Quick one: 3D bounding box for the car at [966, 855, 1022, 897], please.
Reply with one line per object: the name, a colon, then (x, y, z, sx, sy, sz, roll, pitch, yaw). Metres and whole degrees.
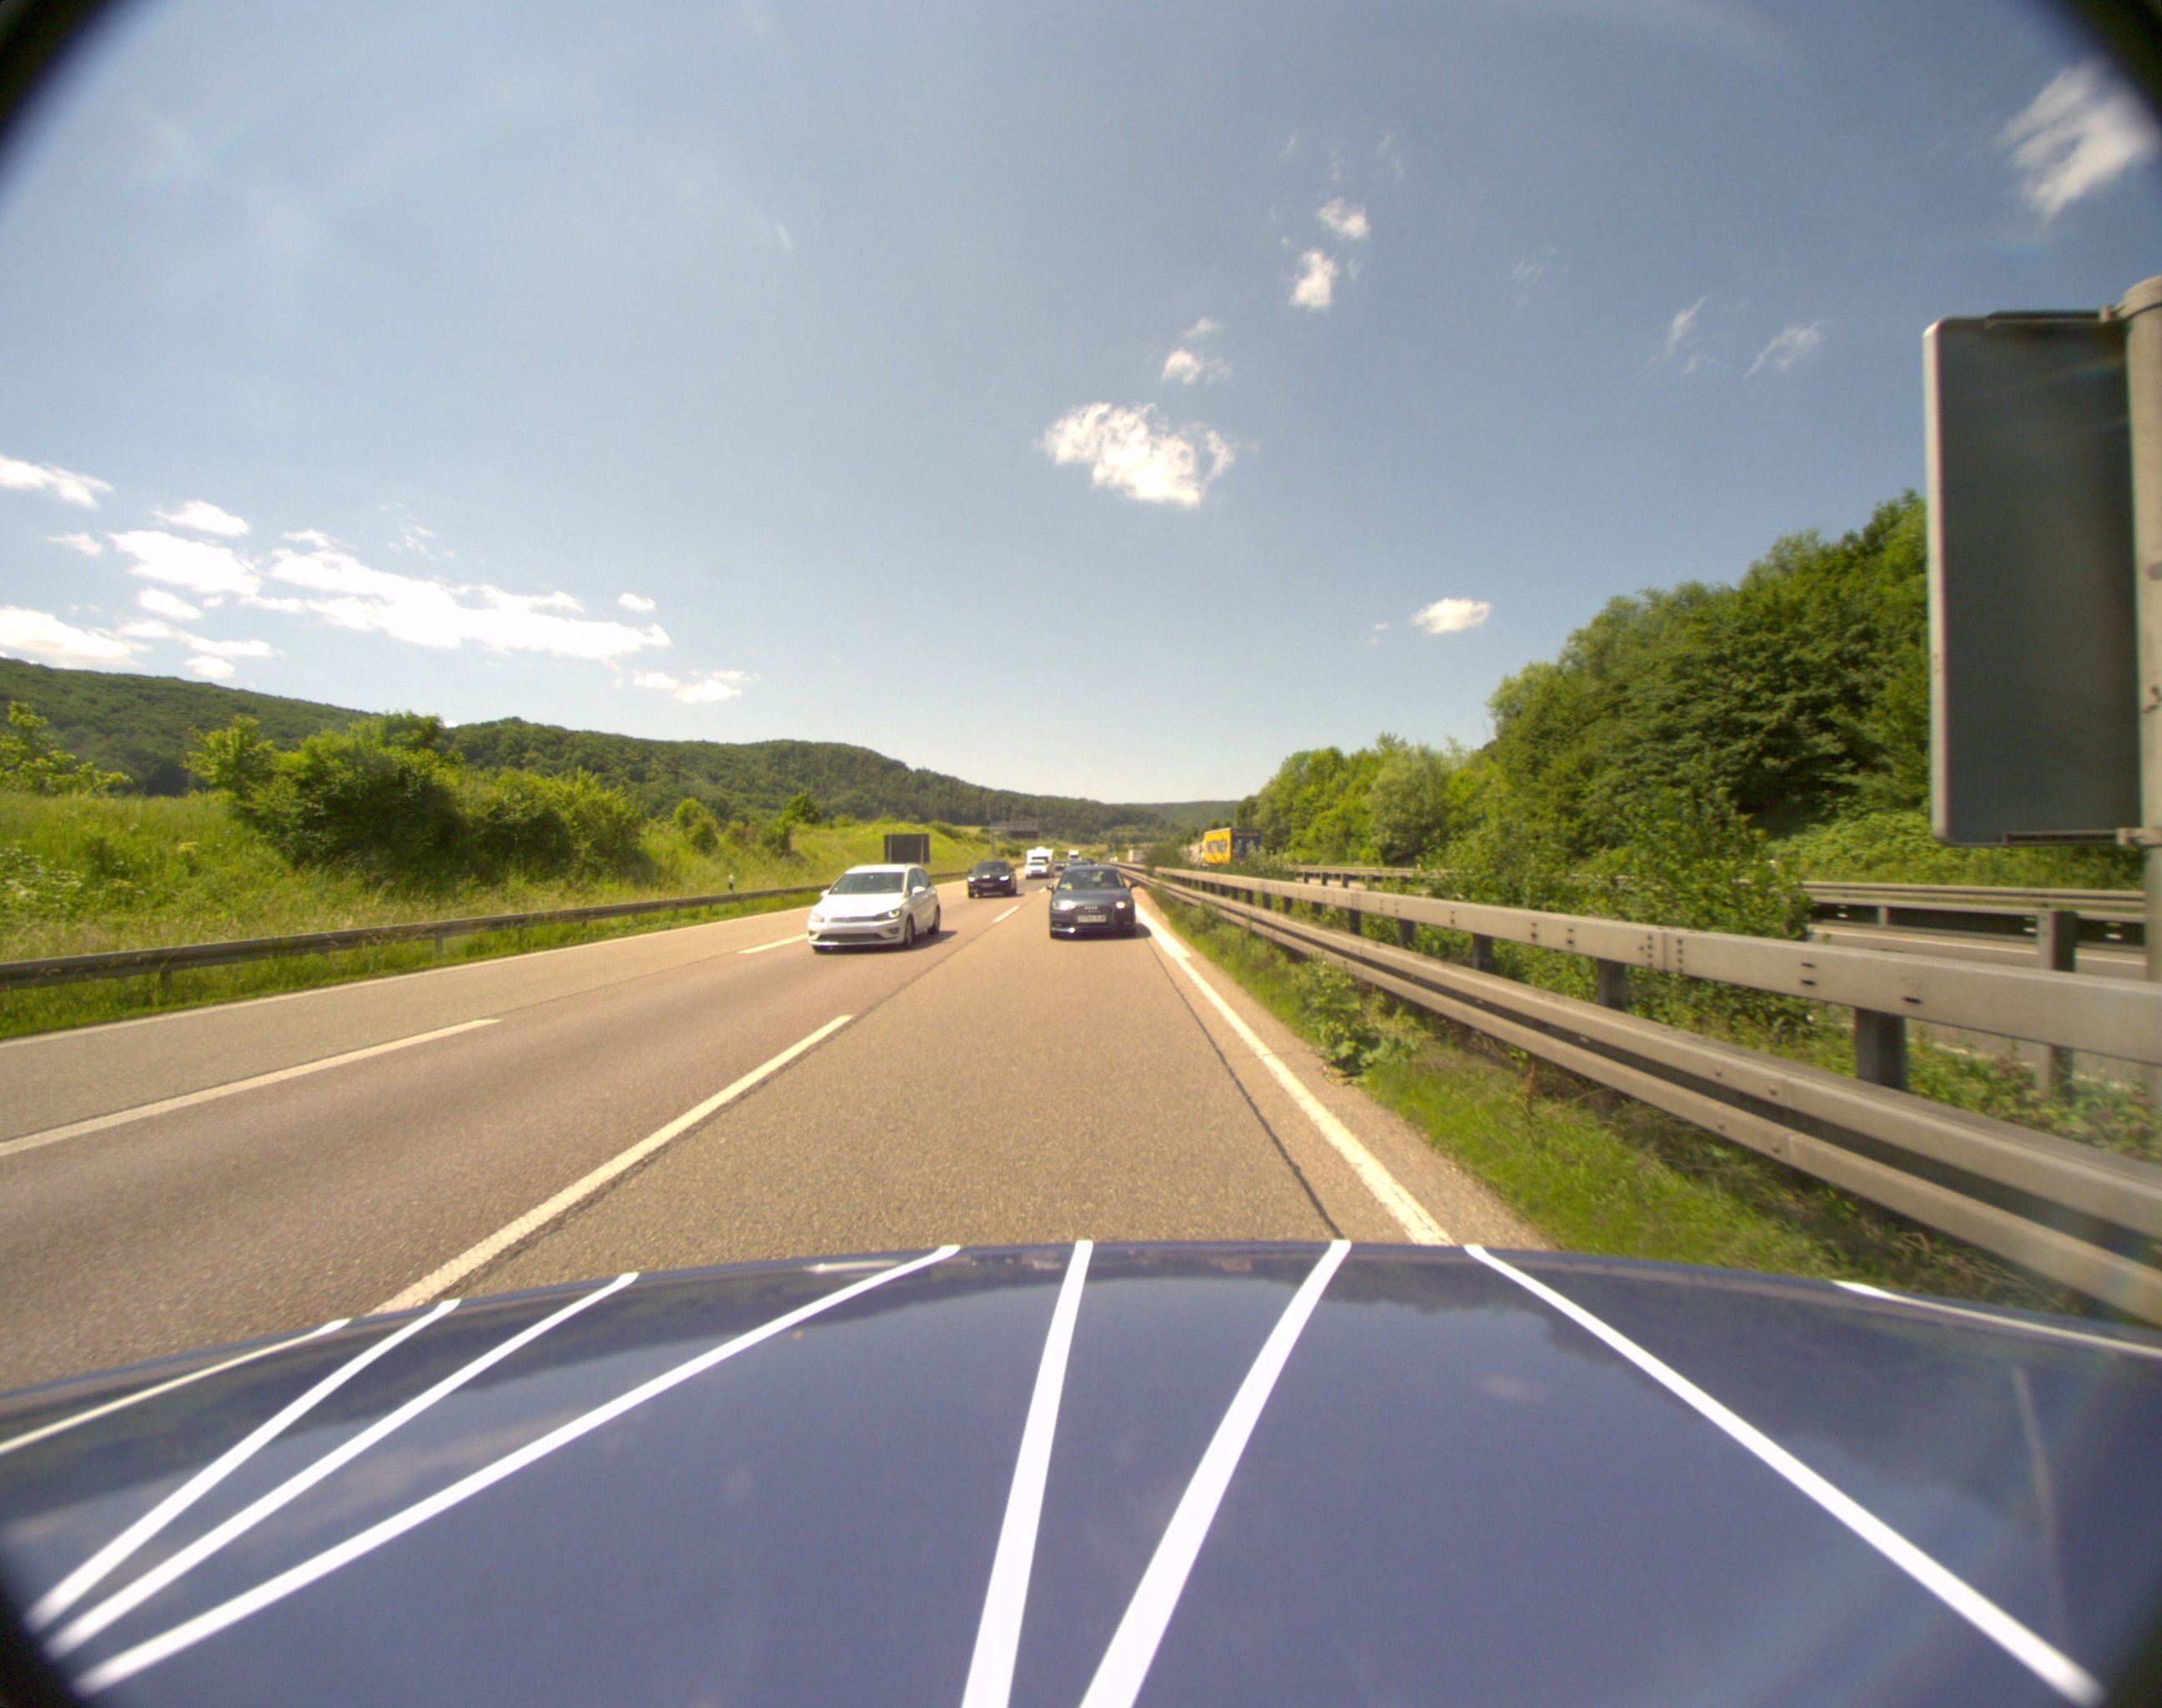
car: (-3.820, 0.927, 34.017, 1.893, 1.761, 4.172, -1, 0, 2)

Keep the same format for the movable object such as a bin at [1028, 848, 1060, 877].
movable object such as a bin: (-3.433, 0.780, 72.399, 2.481, 2.616, 6.709, -2, 0, 1)

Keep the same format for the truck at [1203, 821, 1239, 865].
truck: (13.603, -1.070, 74.094, 2.554, 4.066, 5.850, -1, 0, 1)

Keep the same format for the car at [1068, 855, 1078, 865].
car: (-1.736, 1.251, 164.946, 1.998, 2.002, 4.000, -2, 0, 0)

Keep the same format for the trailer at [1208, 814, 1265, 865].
trailer: (13.411, -1.143, 66.741, 2.587, 3.981, 12.601, -2, 0, 1)

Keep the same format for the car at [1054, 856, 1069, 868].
car: (-2.638, 1.070, 103.703, 1.711, 1.542, 4.000, -1, 0, 1)

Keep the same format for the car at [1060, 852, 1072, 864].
car: (-2.715, 0.751, 135.002, 1.999, 2.002, 3.999, -1, 0, -2)

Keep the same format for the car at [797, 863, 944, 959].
car: (-3.965, 1.003, 15.026, 1.777, 1.532, 4.054, -2, 0, -1)

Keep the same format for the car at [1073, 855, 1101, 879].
car: (0.473, 0.907, 52.891, 1.835, 1.586, 4.001, -1, 0, 2)

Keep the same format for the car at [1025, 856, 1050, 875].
car: (-3.671, 0.954, 65.257, 1.821, 1.574, 4.000, -1, 0, 1)

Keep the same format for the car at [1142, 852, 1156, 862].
car: (10.698, 0.461, 119.739, 1.874, 1.412, 4.433, 0, 0, 1)

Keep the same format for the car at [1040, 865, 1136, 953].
car: (0.261, 0.977, 15.013, 1.591, 1.401, 4.001, -2, 0, 4)

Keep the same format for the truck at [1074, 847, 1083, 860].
truck: (-0.646, -0.152, 215.290, 2.336, 3.623, 7.006, -2, 0, 1)

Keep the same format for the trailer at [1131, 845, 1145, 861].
trailer: (14.577, -0.297, 196.306, 2.863, 4.052, 11.263, 0, 0, 0)
